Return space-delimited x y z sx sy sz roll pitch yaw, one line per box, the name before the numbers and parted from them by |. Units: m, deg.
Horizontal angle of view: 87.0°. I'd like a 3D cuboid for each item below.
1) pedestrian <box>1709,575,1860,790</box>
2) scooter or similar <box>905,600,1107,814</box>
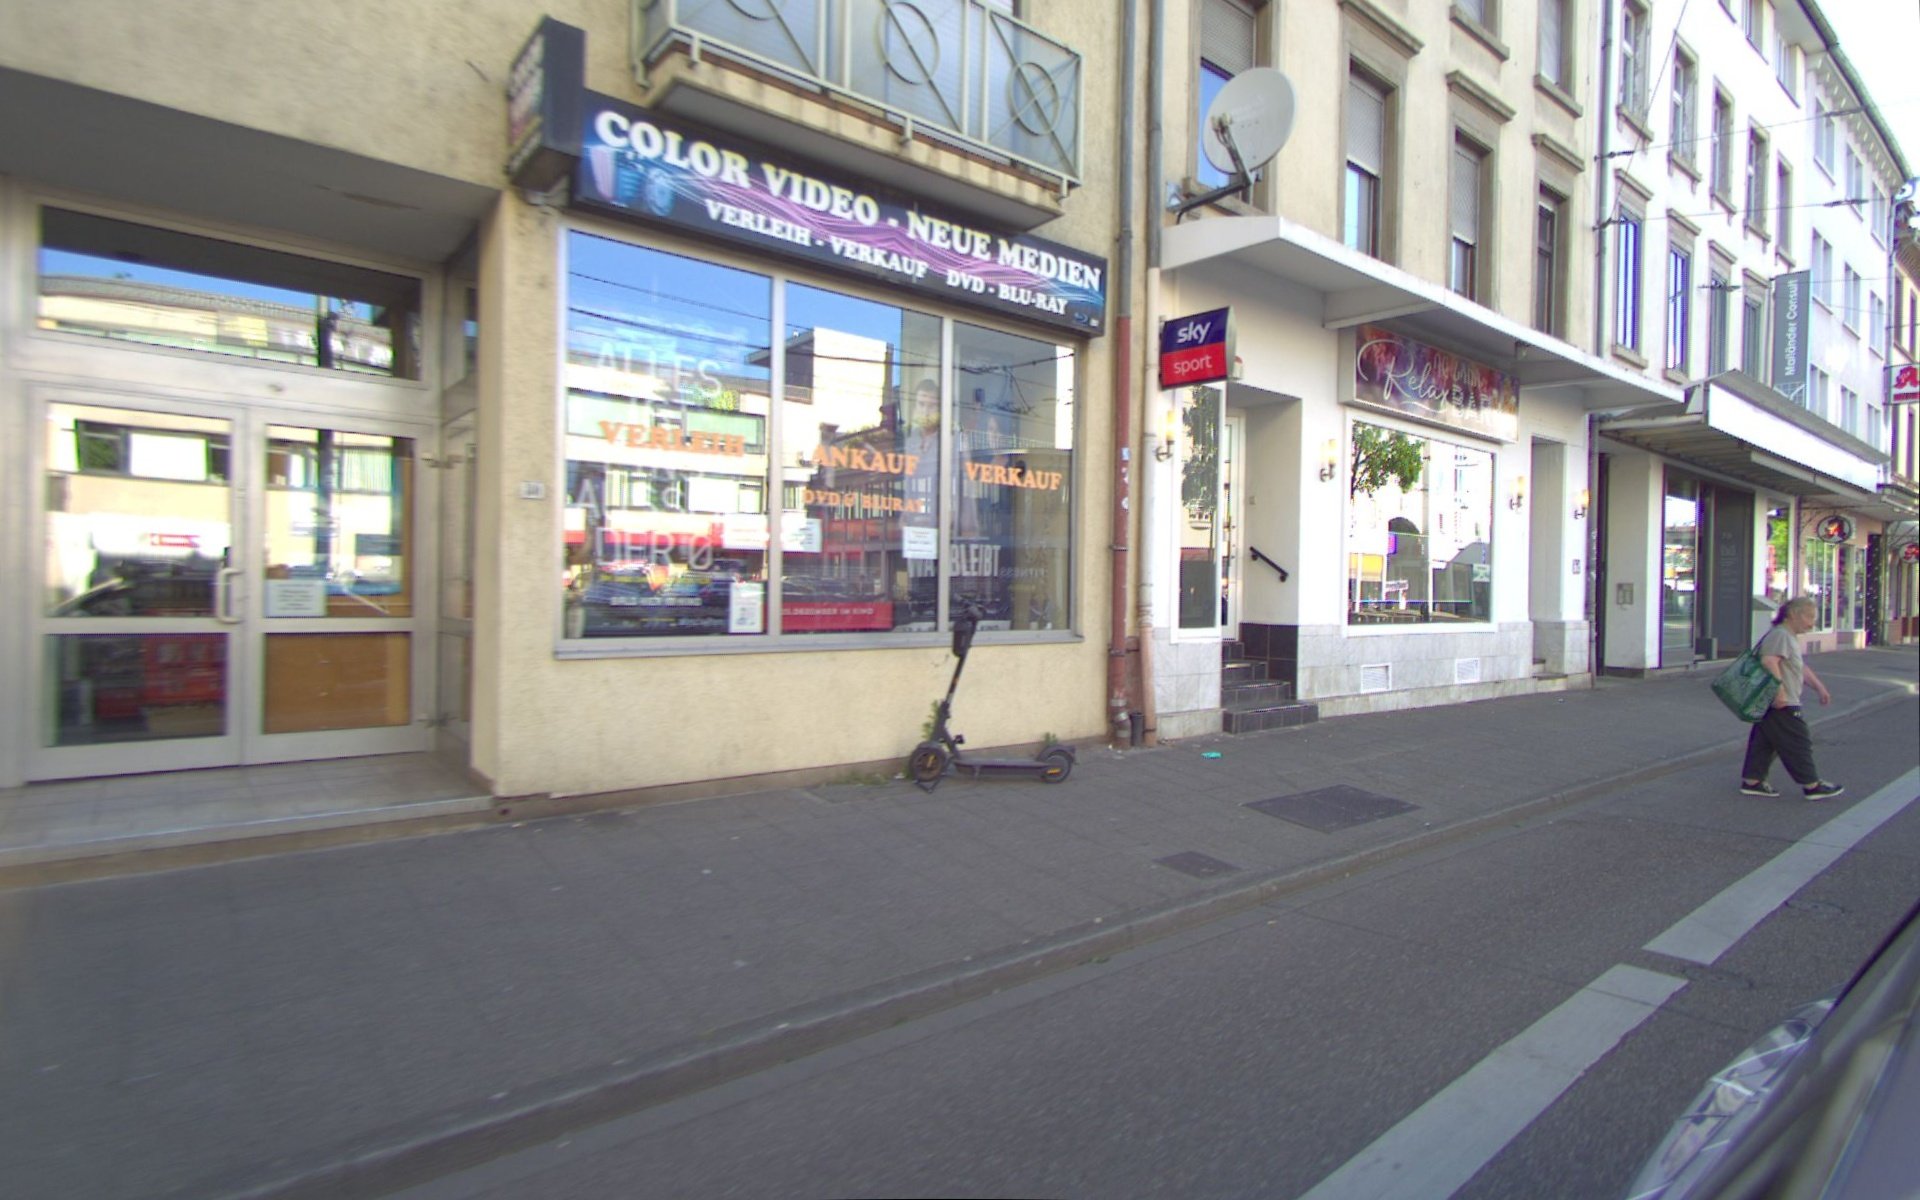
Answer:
pedestrian | 6.467 0.599 7.946 0.638 1.580 0.781 0 0 -37
scooter or similar | 0.306 0.656 6.611 1.257 1.297 0.412 0 0 -23
